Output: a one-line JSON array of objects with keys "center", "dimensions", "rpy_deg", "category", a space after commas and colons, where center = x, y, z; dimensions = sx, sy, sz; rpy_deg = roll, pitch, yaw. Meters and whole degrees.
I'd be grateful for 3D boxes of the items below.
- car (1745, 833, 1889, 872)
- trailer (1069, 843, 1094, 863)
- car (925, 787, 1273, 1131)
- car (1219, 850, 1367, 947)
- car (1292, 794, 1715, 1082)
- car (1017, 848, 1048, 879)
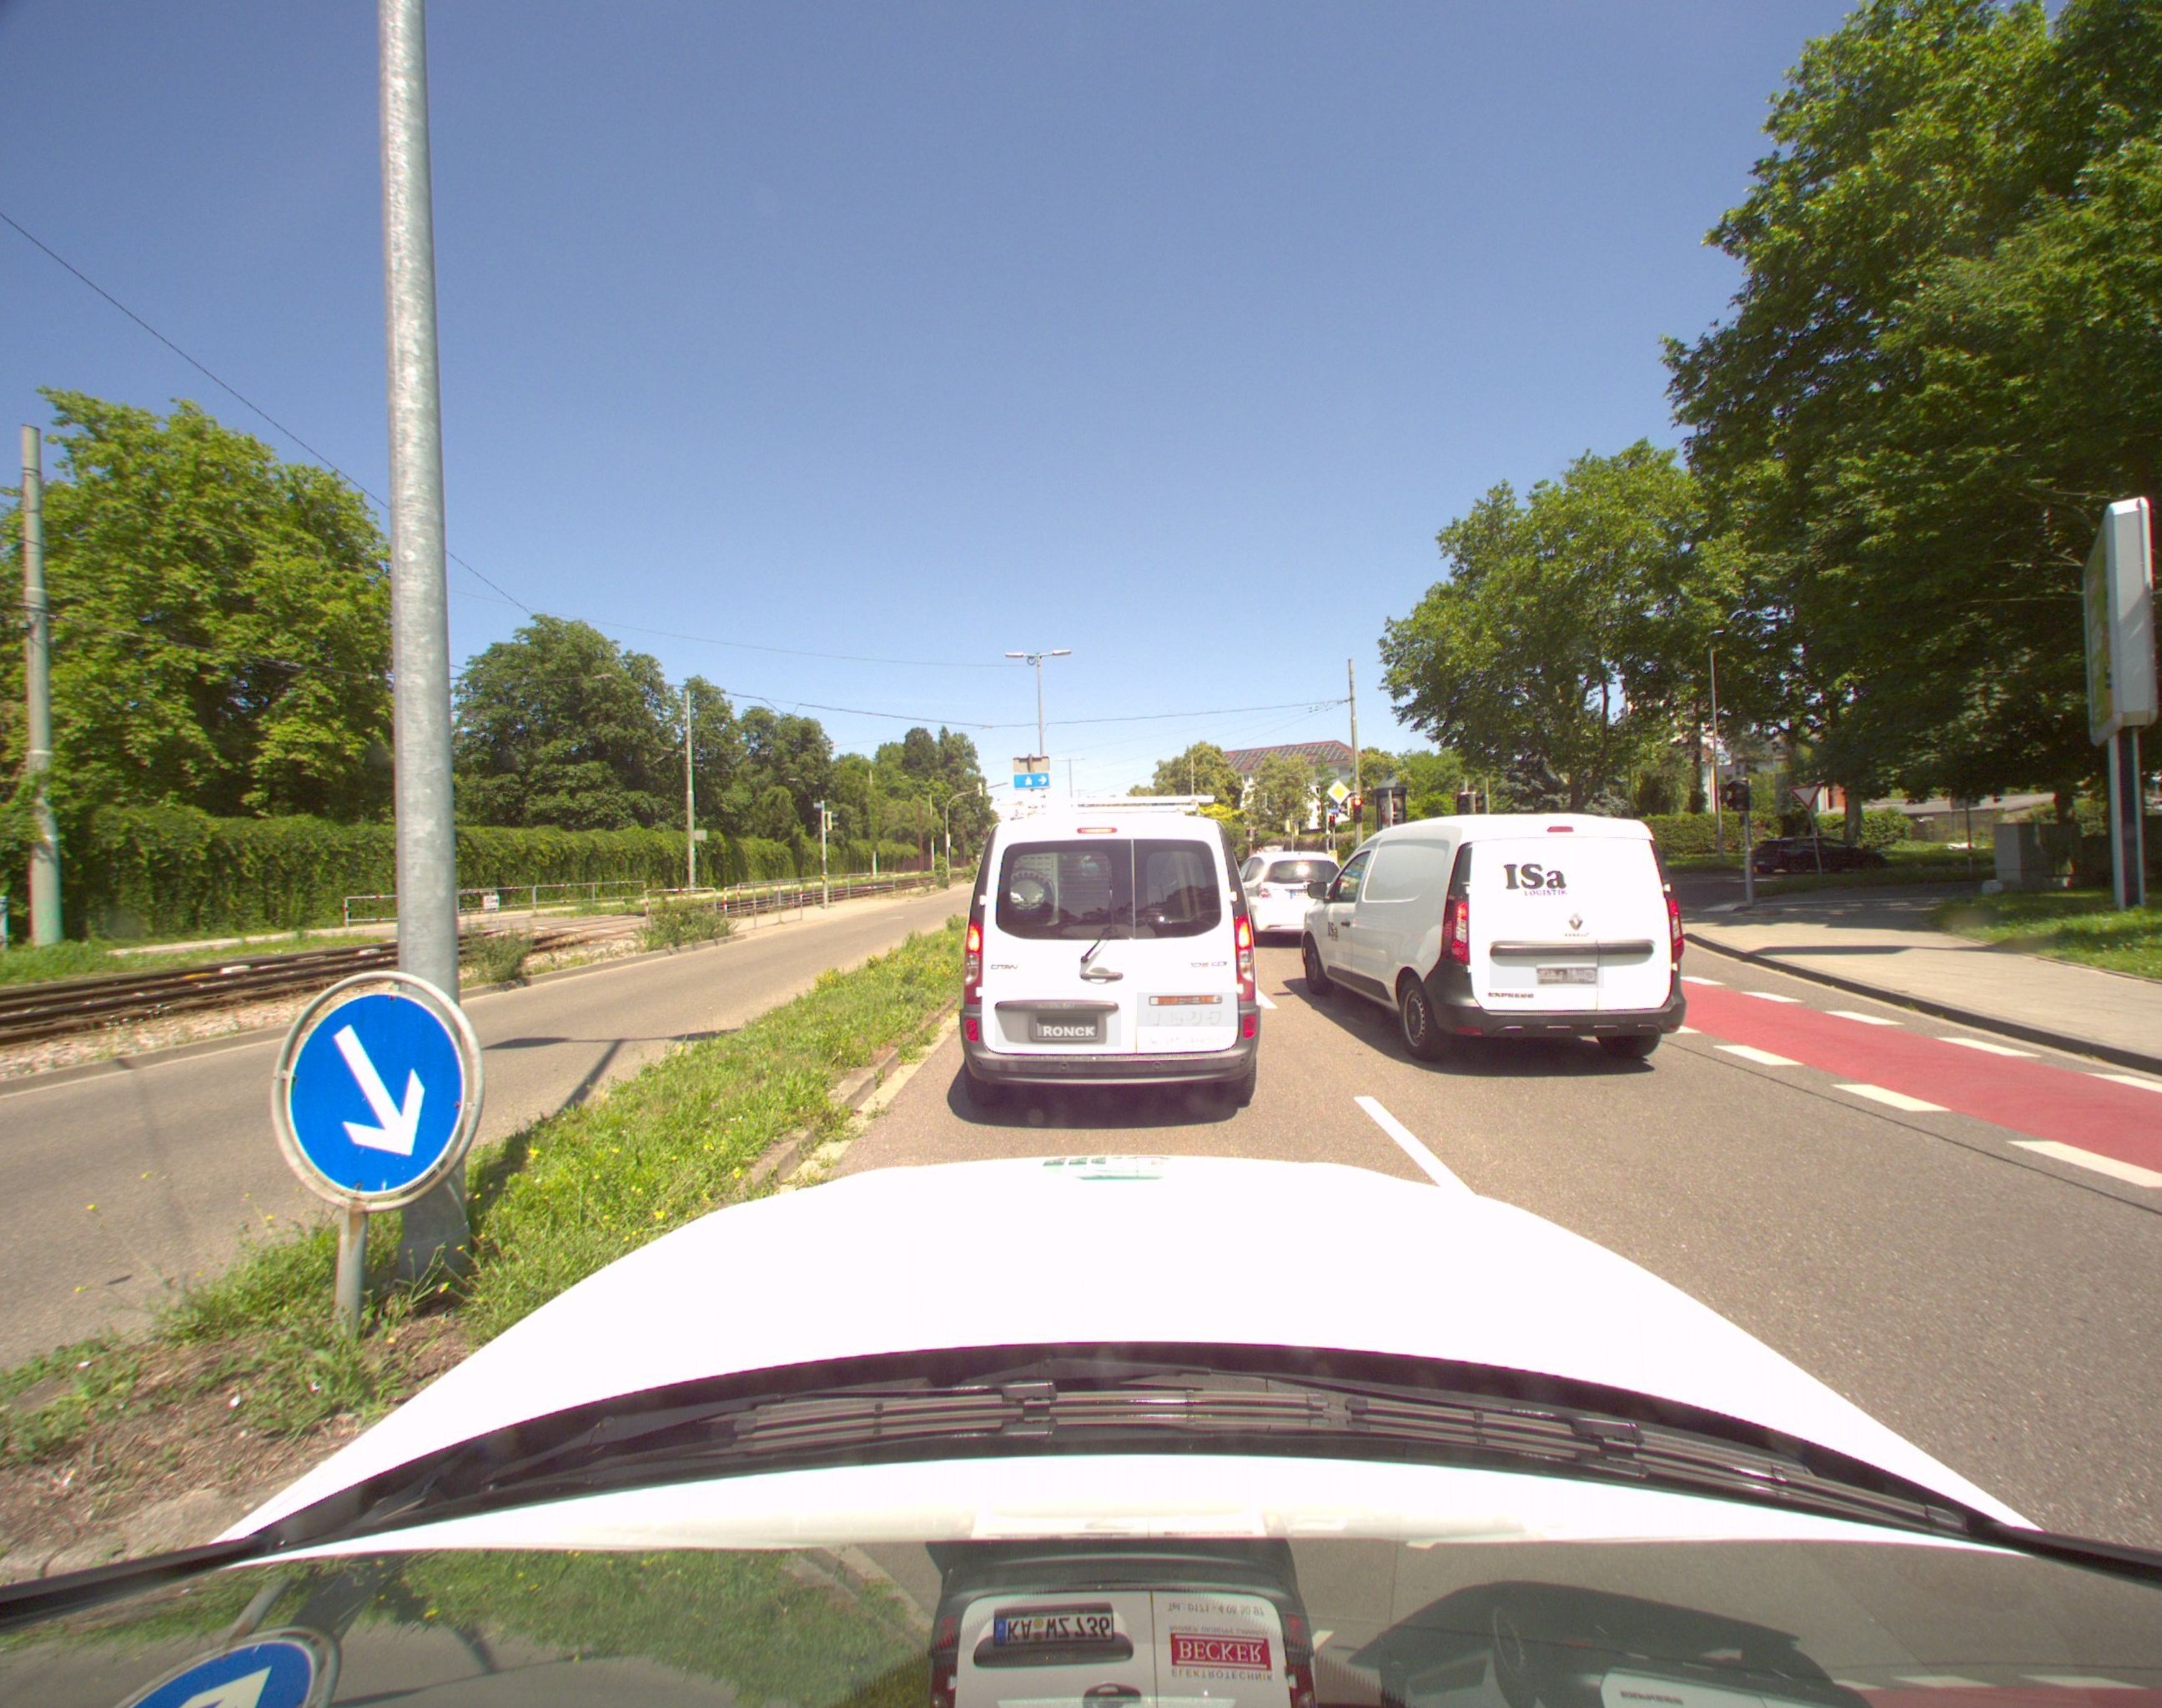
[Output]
[{"center": [28.628, -0.052, 31.793], "dimensions": [3.848, 1.311, 1.701], "rpy_deg": [-3, 0, 10], "category": "car"}, {"center": [0.048, -0.246, 175.948], "dimensions": [3.529, 4.050, 8.943], "rpy_deg": [-2, 0, -11], "category": "trailer"}, {"center": [0.138, 0.567, 6.321], "dimensions": [1.860, 1.836, 3.849], "rpy_deg": [-1, 0, 1], "category": "car"}, {"center": [3.623, 0.694, 14.635], "dimensions": [1.749, 1.486, 4.002], "rpy_deg": [0, 0, 2], "category": "car"}, {"center": [3.249, 0.542, 7.267], "dimensions": [1.704, 1.830, 4.013], "rpy_deg": [-1, 0, 0], "category": "car"}, {"center": [-3.414, 0.641, 56.778], "dimensions": [1.991, 2.013, 3.992], "rpy_deg": [-2, 0, -6], "category": "car"}]
